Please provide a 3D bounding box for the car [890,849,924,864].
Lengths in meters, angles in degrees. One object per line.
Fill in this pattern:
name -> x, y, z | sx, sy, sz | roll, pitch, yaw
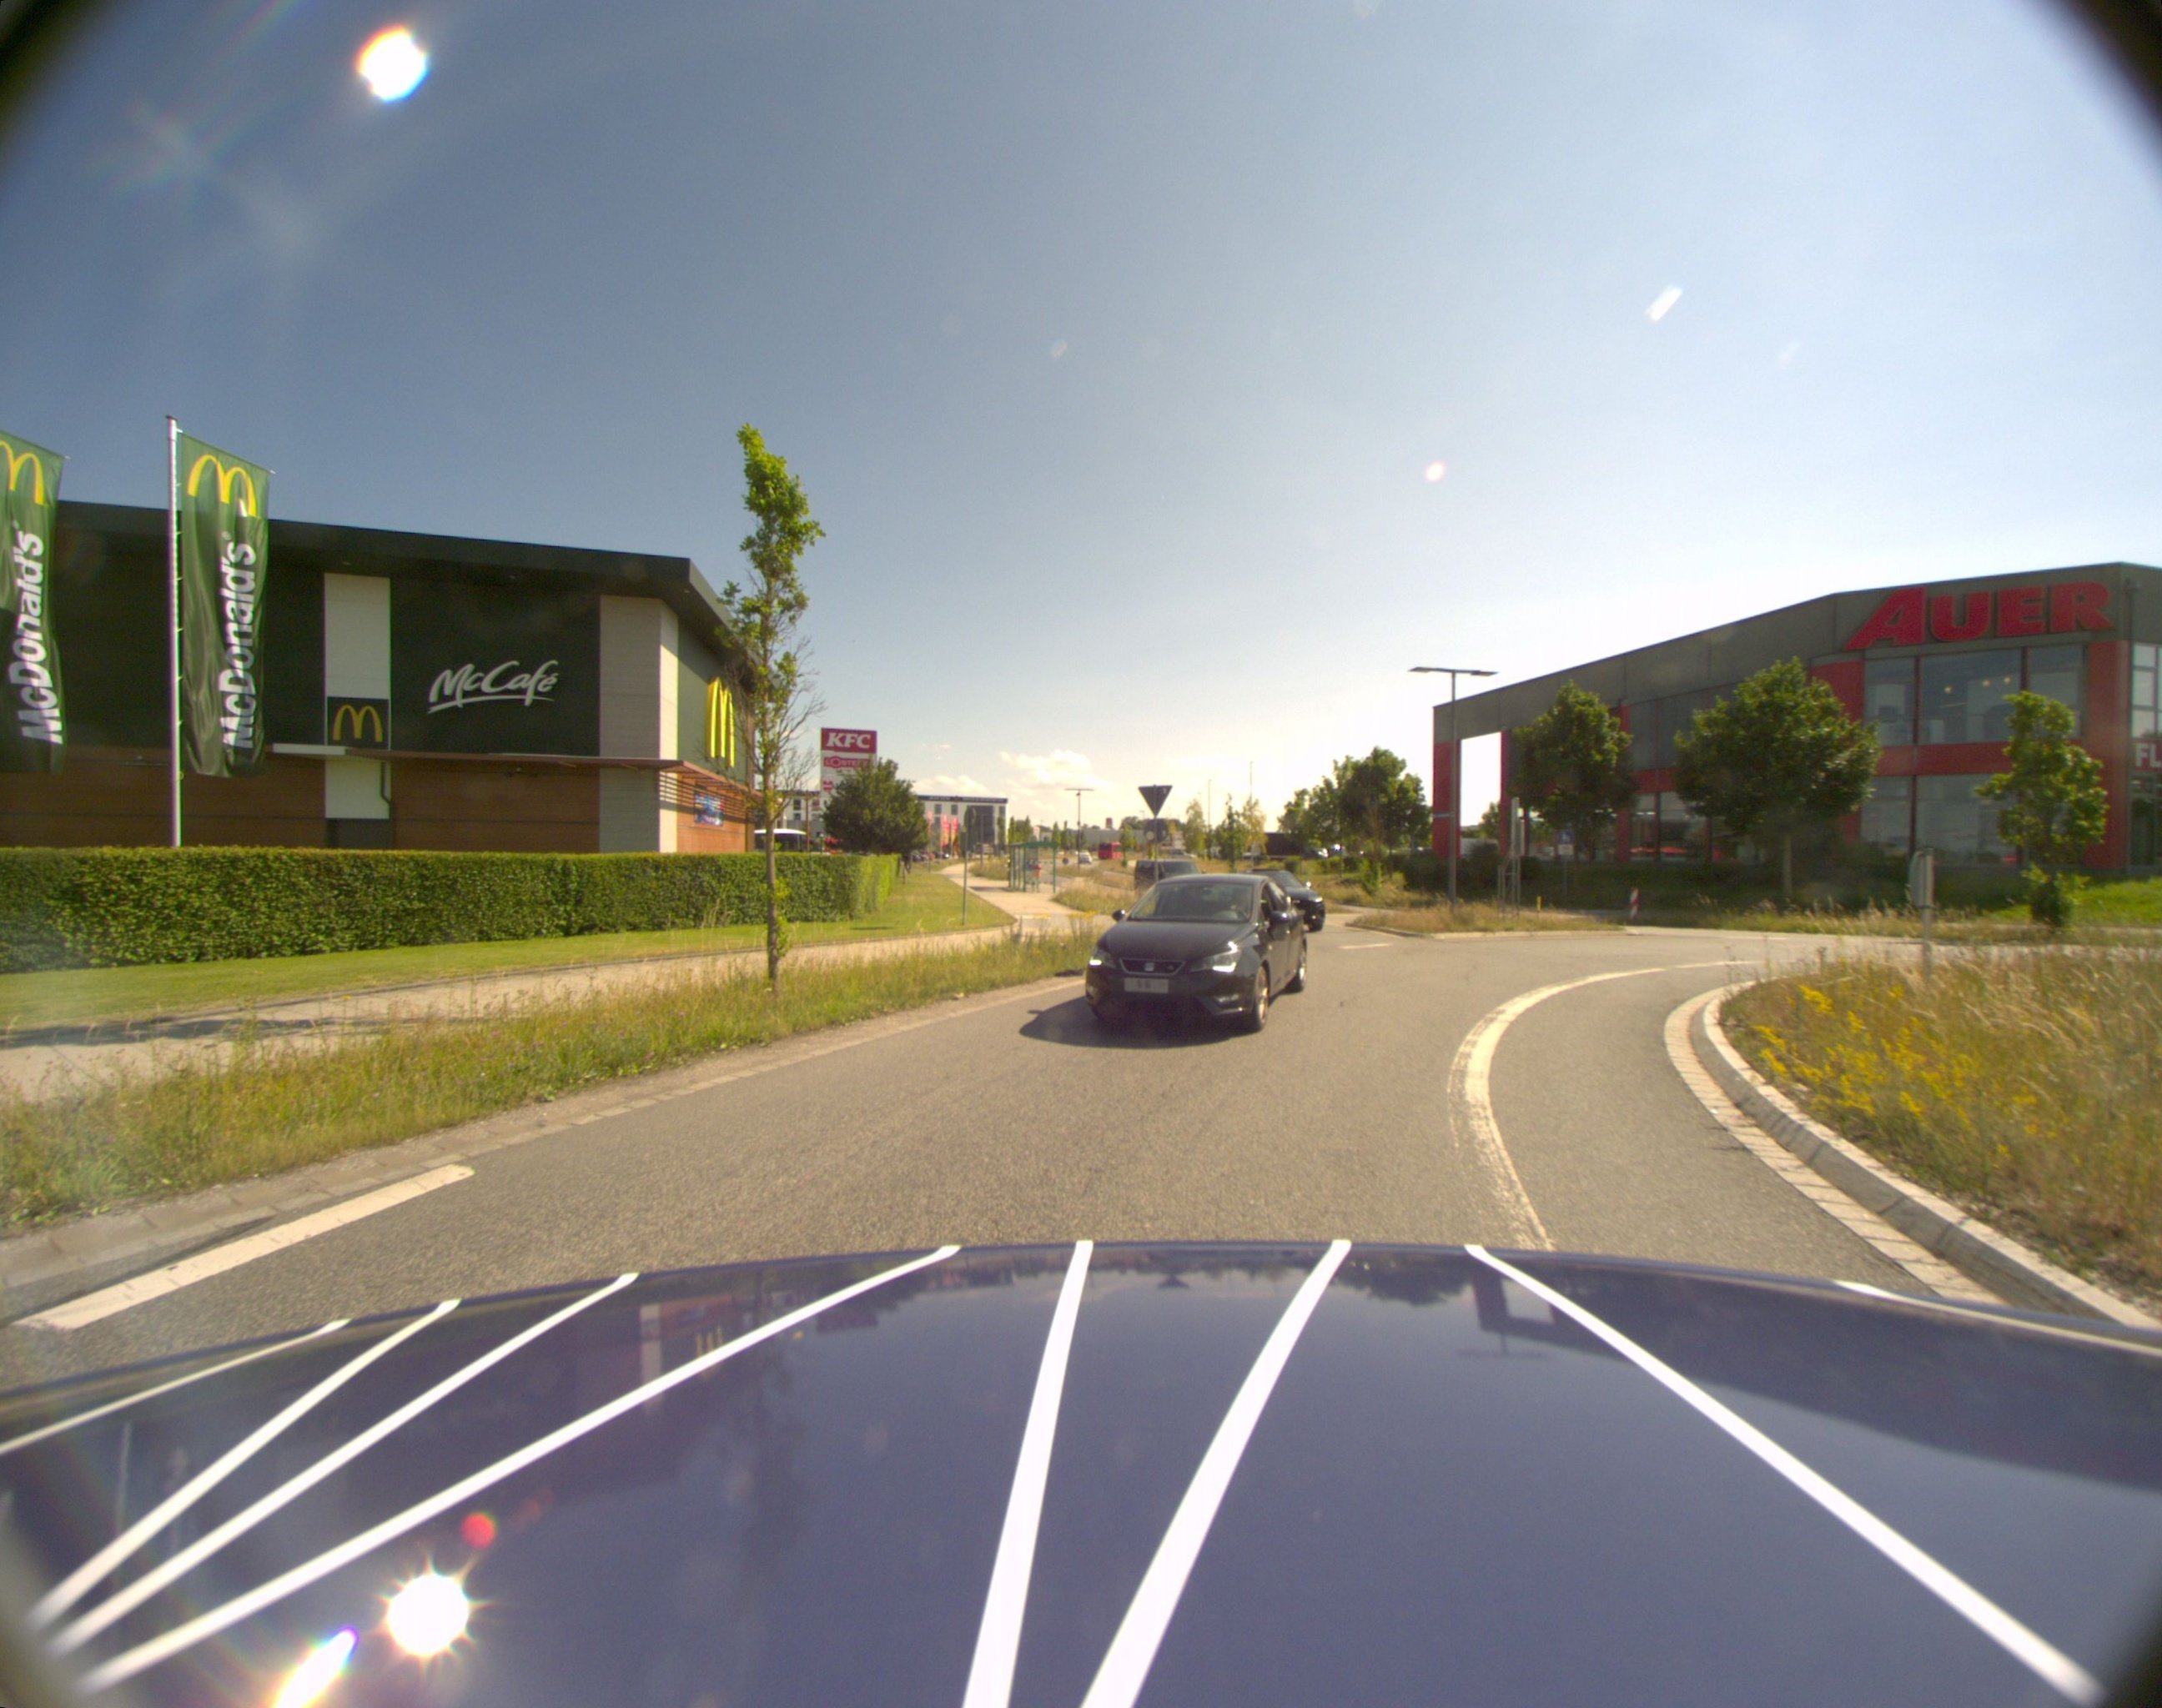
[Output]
car -> -23.983, 0.274, 104.567 | 4.183, 2.002, 1.933 | 0, 1, 1

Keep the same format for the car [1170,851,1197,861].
car -> 16.350, 0.322, 121.385 | 3.937, 1.667, 1.622 | 1, 0, 21

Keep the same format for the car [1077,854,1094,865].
car -> 0.656, 0.724, 104.700 | 1.795, 1.407, 4.385 | 0, 0, 8

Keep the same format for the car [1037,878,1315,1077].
car -> 1.294, 1.054, 8.279 | 1.858, 1.460, 4.007 | 0, 0, 25

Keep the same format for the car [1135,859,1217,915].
car -> 3.957, 1.313, 32.490 | 2.081, 2.037, 4.677 | -2, 1, -11

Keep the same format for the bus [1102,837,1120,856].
bus -> 5.297, -1.351, 134.031 | 2.614, 3.222, 11.884 | 0, 0, 5

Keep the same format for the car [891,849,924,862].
car -> -24.367, 0.200, 106.963 | 4.182, 1.846, 1.804 | 0, 1, 5

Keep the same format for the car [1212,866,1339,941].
car -> 5.263, 1.261, 21.106 | 1.863, 1.679, 3.995 | -2, 1, -11

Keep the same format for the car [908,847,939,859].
car -> -23.849, -0.174, 115.280 | 4.182, 1.752, 1.824 | 0, 1, 4

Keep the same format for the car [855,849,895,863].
car -> -25.102, 0.222, 92.822 | 4.442, 1.643, 1.932 | 0, 1, -6

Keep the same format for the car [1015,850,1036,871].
car -> -5.005, 0.562, 68.203 | 1.730, 1.892, 3.998 | 0, 0, -5
